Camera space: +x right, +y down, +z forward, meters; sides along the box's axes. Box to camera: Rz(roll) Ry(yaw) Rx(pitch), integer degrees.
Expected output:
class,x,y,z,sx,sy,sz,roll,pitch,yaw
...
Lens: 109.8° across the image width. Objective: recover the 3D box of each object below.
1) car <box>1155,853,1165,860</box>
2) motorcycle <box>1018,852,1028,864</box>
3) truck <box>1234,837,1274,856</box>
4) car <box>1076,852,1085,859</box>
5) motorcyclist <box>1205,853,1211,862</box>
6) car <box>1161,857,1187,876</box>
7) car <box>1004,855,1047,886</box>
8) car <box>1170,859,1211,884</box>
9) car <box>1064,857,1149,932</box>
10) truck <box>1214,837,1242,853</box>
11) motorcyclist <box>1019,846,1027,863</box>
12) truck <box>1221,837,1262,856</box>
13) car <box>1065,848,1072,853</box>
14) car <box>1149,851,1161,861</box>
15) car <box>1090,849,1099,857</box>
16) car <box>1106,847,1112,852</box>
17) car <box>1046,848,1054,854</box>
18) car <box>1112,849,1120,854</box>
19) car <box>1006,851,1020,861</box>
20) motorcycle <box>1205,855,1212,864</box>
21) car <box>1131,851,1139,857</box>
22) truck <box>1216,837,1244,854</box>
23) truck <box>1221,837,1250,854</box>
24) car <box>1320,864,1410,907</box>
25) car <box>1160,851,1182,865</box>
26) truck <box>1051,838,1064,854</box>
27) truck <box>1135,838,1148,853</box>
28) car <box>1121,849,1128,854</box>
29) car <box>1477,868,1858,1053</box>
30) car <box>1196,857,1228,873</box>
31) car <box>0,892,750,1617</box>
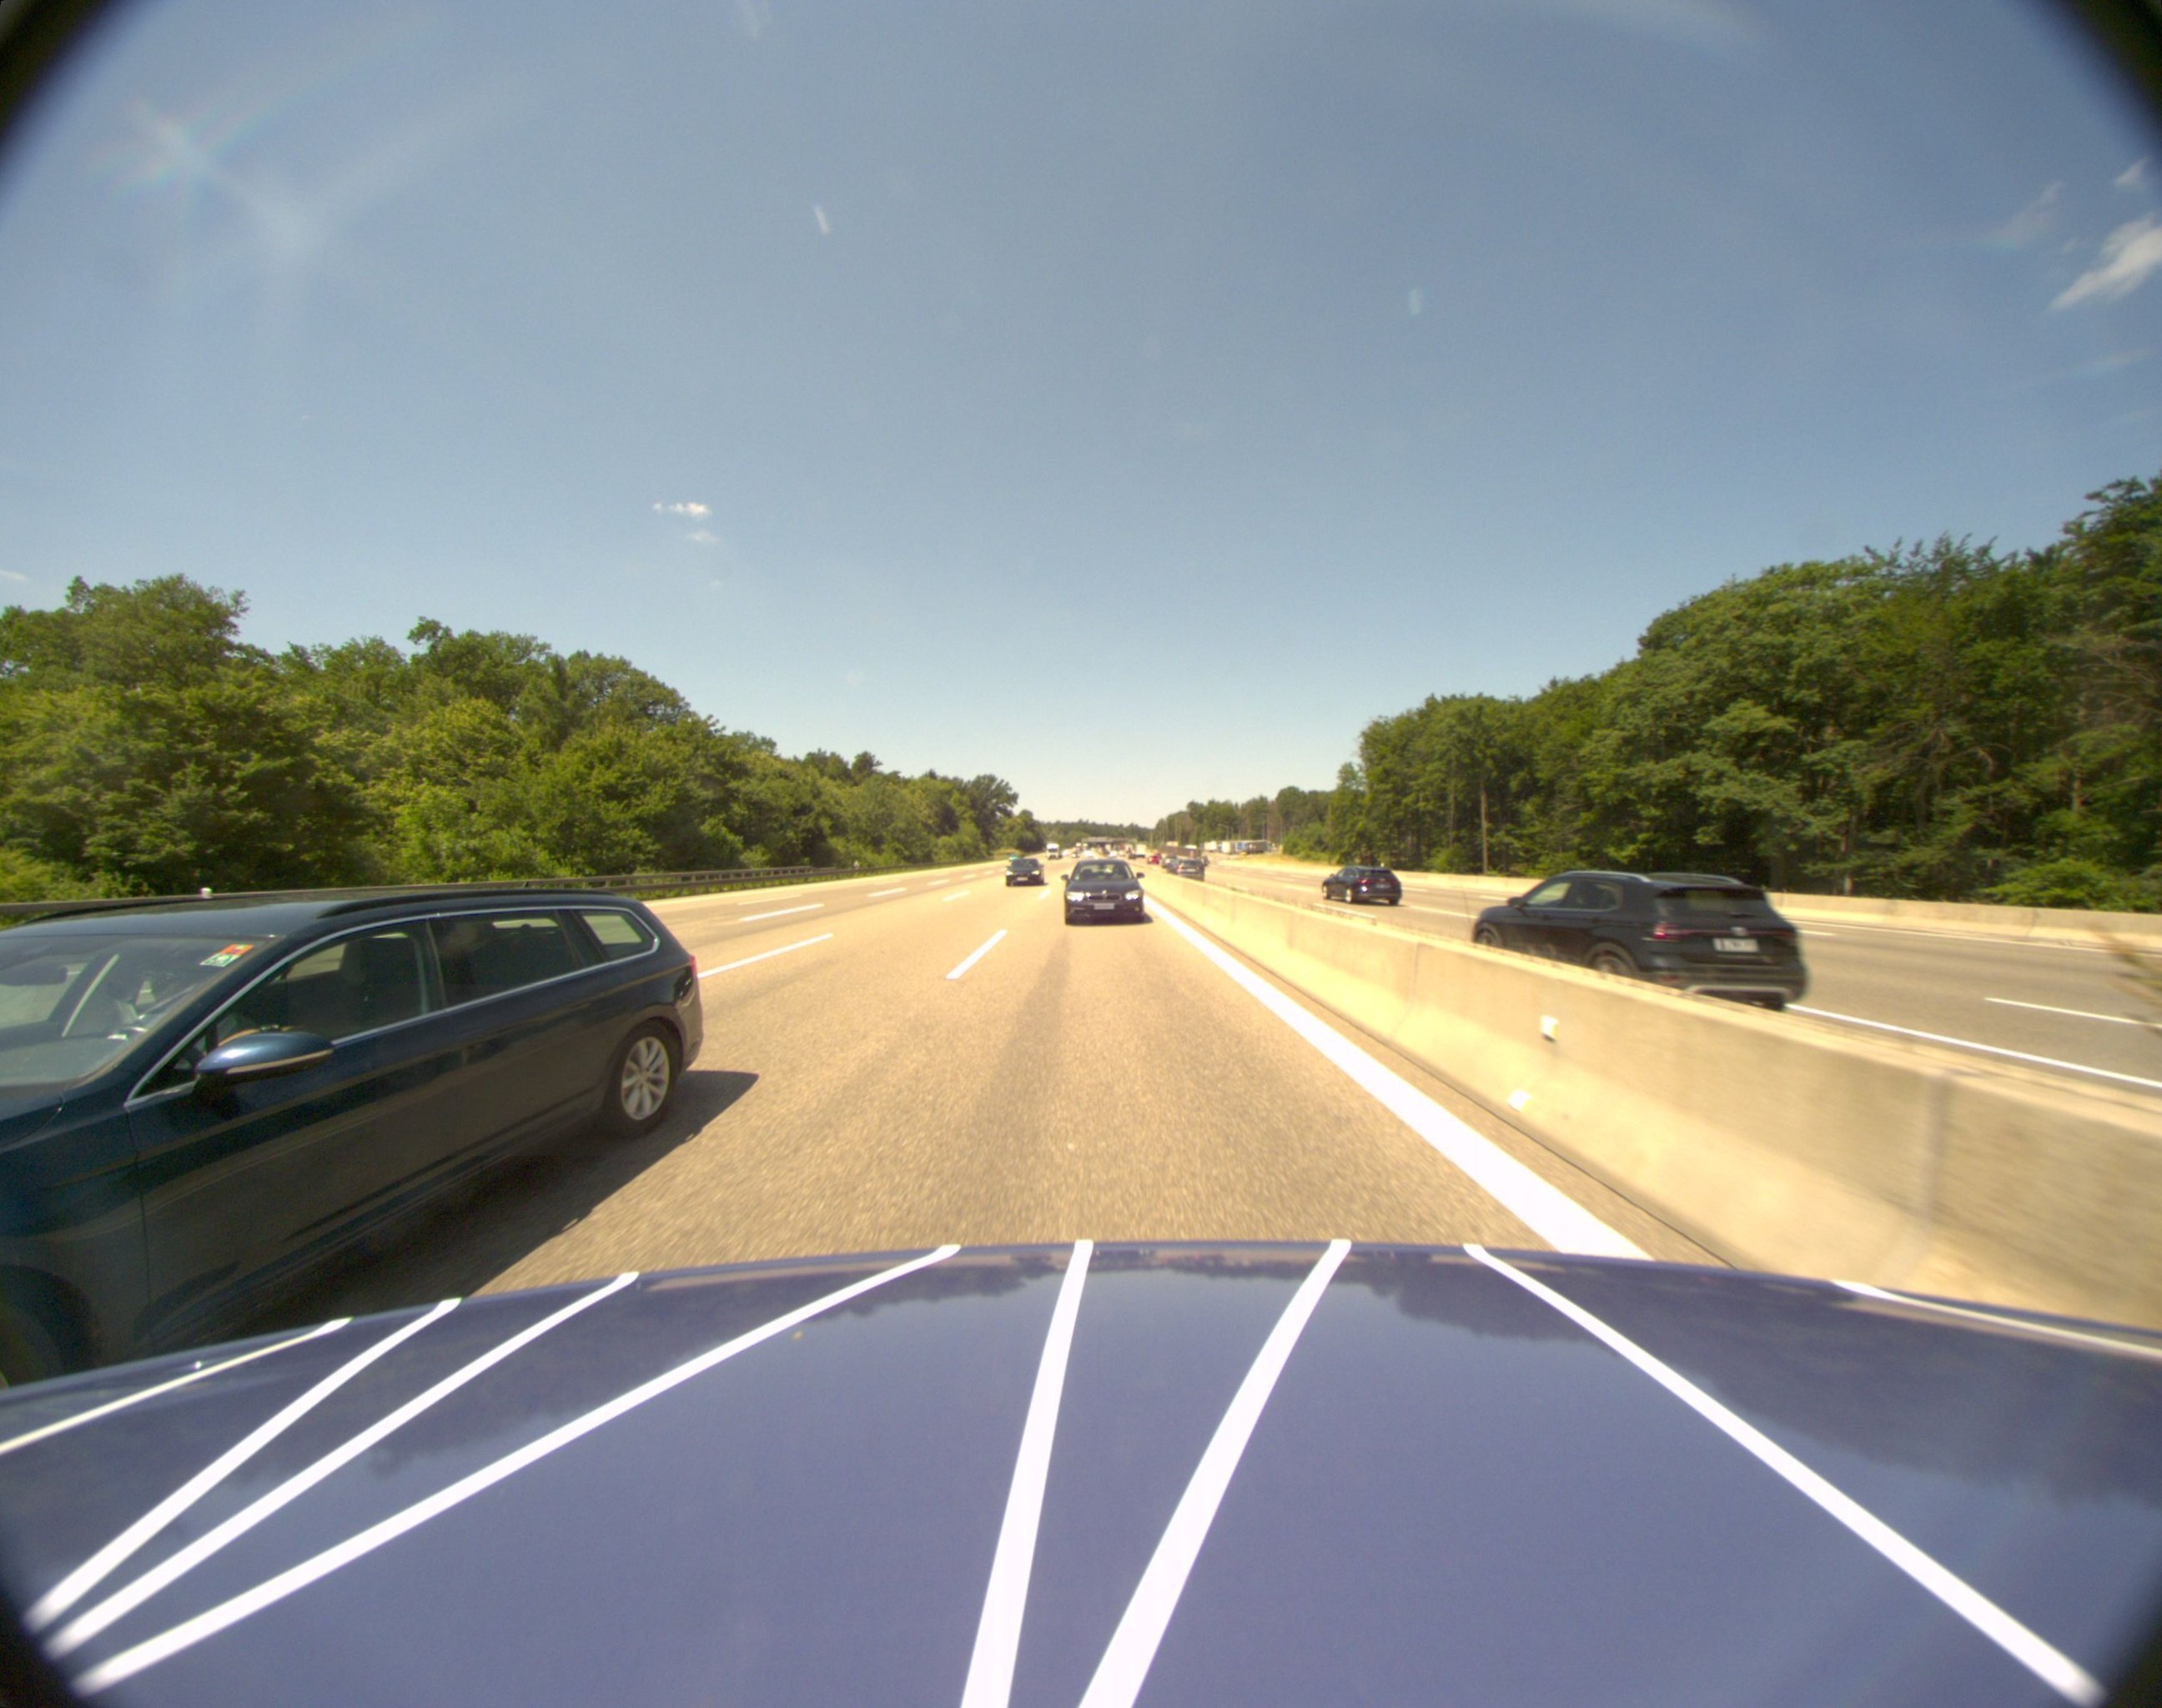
class,x,y,z,sx,sy,sz,roll,pitch,yaw
car,19.937,0.493,191.103,2.052,1.665,5.188,1,1,1
motorcycle,-6.850,0.473,89.533,0.925,1.311,2.997,0,1,1
truck,53.028,-2.291,232.805,16.746,5.580,3.214,0,1,-44
car,-0.136,0.319,185.603,1.998,1.671,4.127,1,1,2
motorcyclist,19.021,0.538,113.537,0.762,1.294,1.077,1,2,1
car,7.245,0.932,59.654,1.618,1.386,3.849,0,0,1
car,-2.822,0.813,39.478,1.834,1.454,4.203,1,1,1
car,6.254,1.016,43.974,1.757,1.368,4.492,1,-2,1
car,0.599,0.863,18.213,1.741,1.450,4.542,-2,1,2
truck,50.339,-3.010,259.659,11.562,5.580,3.218,-1,1,-45
motorcyclist,-6.846,0.077,89.484,0.914,1.926,0.905,1,1,0
truck,49.604,-2.368,234.495,16.746,5.580,3.440,0,1,-44
car,-3.830,-1.134,231.884,1.874,1.560,4.127,0,0,2
car,12.094,0.296,124.176,1.576,1.503,4.030,1,1,2
car,3.230,-0.168,181.230,1.998,1.935,4.128,0,0,2
car,9.542,-1.516,262.966,1.917,1.456,4.362,0,1,1
car,-8.486,-0.787,208.187,1.874,1.560,4.127,0,0,2
car,9.335,-0.596,202.243,1.829,1.386,4.464,1,1,-1
car,-12.893,0.345,144.381,1.998,1.671,4.127,1,1,2
motorcycle,19.064,0.802,113.469,0.740,1.207,2.349,1,1,1
car,12.470,-0.017,175.261,1.706,1.419,4.613,1,1,1
truck,49.839,-2.931,254.158,11.562,5.580,3.218,-1,1,-45
truck,51.100,-2.858,250.681,11.562,5.580,3.357,-1,1,-45
car,10.985,1.164,29.792,1.721,1.441,4.908,2,0,1
car,10.987,0.475,93.238,1.976,1.714,4.508,1,0,-1
truck,-4.890,-1.637,160.852,2.428,3.237,8.688,1,1,0
truck,16.319,-2.245,205.344,2.865,3.990,9.467,0,1,1
car,13.274,-0.792,229.961,1.917,1.651,4.688,1,1,0
car,6.566,1.048,9.140,1.618,1.652,3.849,0,1,1
car,12.236,1.014,71.069,1.927,1.341,5.043,0,0,-2
car,-3.297,1.011,2.947,1.734,1.439,4.961,0,0,1
